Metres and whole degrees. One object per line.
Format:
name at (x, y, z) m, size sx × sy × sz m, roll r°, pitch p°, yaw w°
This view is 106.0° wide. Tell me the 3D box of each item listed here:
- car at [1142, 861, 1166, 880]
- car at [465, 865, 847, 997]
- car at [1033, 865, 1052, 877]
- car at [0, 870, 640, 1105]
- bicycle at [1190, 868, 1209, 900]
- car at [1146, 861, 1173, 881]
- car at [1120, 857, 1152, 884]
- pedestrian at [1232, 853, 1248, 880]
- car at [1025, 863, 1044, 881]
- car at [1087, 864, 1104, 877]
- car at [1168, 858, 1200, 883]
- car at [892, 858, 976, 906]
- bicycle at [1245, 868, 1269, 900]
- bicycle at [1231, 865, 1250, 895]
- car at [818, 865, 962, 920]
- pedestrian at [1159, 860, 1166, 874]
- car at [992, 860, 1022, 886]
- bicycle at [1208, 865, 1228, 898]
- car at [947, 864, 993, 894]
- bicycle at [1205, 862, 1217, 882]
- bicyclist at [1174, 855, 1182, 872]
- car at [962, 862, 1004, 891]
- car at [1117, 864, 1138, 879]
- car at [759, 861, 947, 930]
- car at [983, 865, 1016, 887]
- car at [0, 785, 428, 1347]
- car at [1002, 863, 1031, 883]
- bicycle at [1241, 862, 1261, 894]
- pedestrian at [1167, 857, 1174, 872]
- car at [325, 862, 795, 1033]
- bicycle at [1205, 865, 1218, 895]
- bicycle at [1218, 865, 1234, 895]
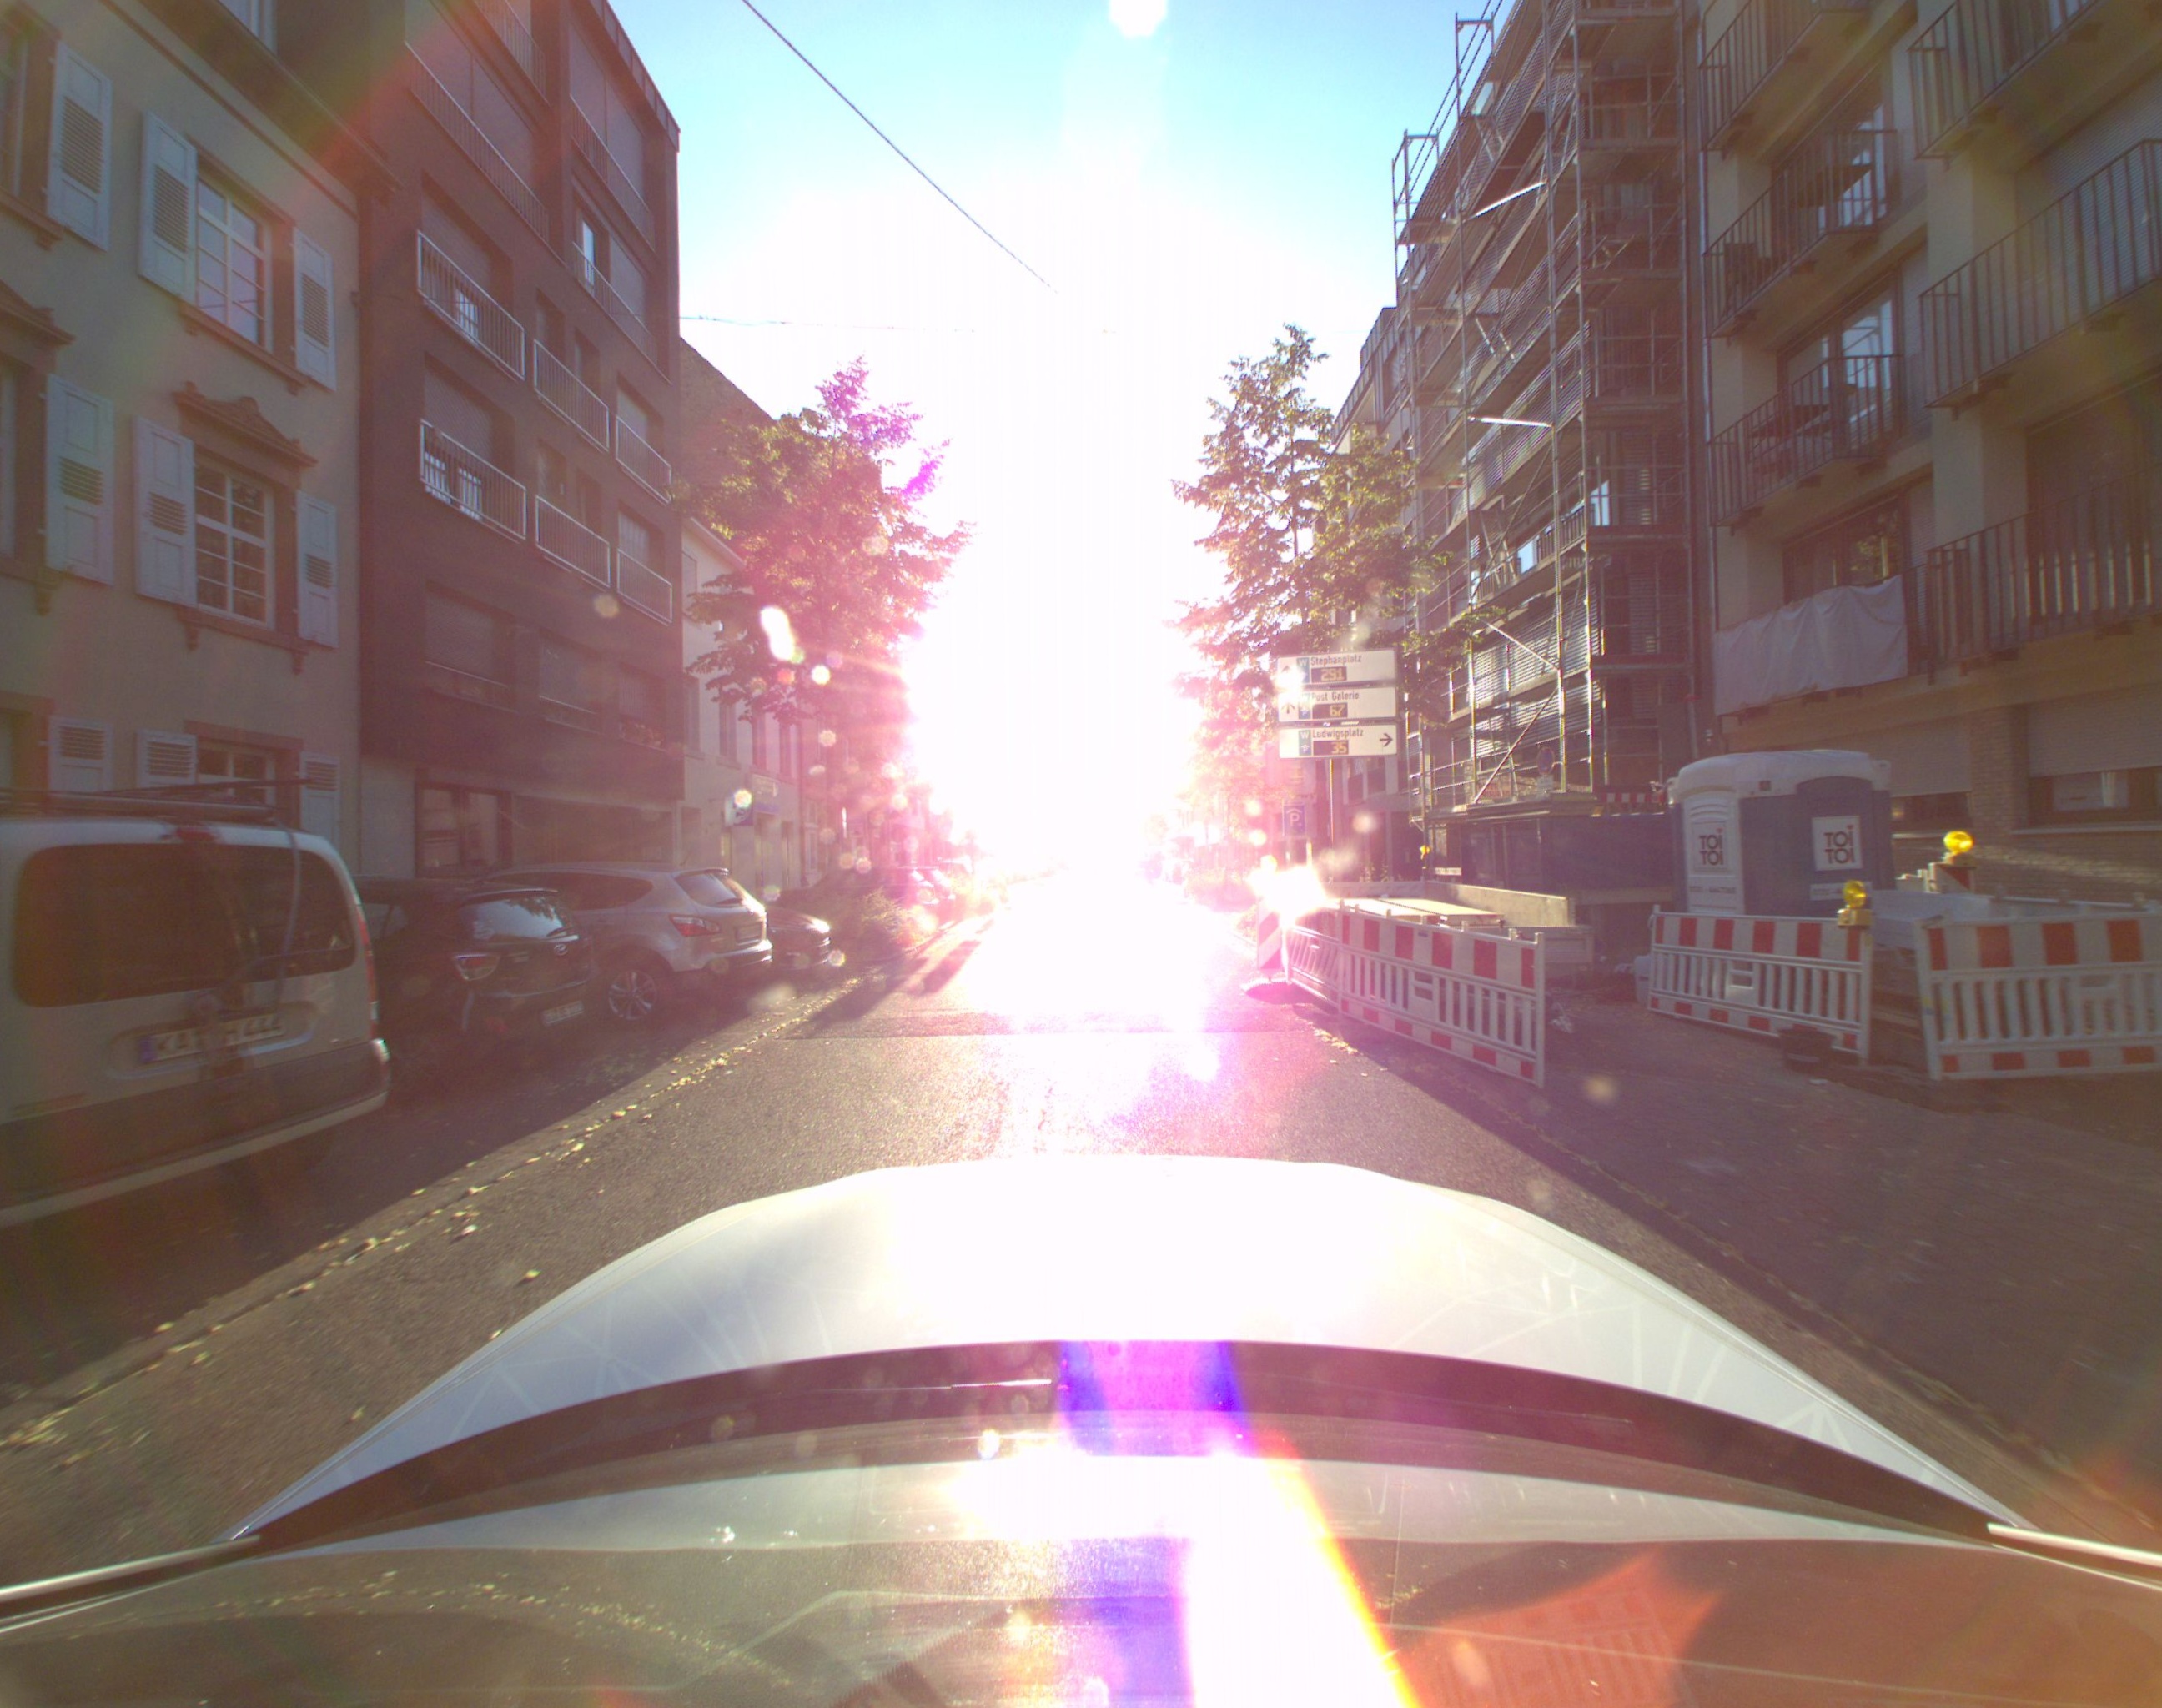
car at (6.030, 1.345, 67.811) m, size 1.697 × 1.436 × 3.933 m, roll -3°, pitch -1°, yaw 2°
car at (-5.534, 0.965, 11.036) m, size 4.197 × 1.516 × 1.760 m, roll -1°, pitch -1°, yaw -3°
car at (-4.335, 1.901, 91.420) m, size 1.827 × 1.328 × 4.123 m, roll -1°, pitch -1°, yaw 0°
car at (-5.696, 0.937, 6.339) m, size 3.631 × 1.515 × 1.652 m, roll -2°, pitch -1°, yaw 6°
bicycle at (4.248, 1.072, 29.155) m, size 0.381 × 1.100 × 1.522 m, roll -2°, pitch -1°, yaw -2°
car at (5.785, 1.257, 60.160) m, size 1.628 × 1.424 × 3.757 m, roll -2°, pitch -1°, yaw 1°
car at (3.623, 1.085, 54.327) m, size 1.988 × 1.655 × 4.675 m, roll 1°, pitch -1°, yaw 1°
pedestrian at (9.809, 0.787, 50.273) m, size 0.807 × 1.647 × 0.606 m, roll -3°, pitch -2°, yaw 1°
car at (-4.862, 1.883, 85.339) m, size 1.828 × 1.854 × 4.120 m, roll -1°, pitch -1°, yaw -2°
car at (1.652, 1.814, 91.480) m, size 1.876 × 1.415 × 4.326 m, roll -1°, pitch -1°, yaw 1°
car at (6.714, 1.077, 53.100) m, size 1.628 × 1.553 × 2.693 m, roll -2°, pitch -1°, yaw -1°
car at (-5.222, 0.982, 29.192) m, size 2.687 × 1.520 × 1.570 m, roll -3°, pitch 0°, yaw -3°
bicycle at (6.427, 1.077, 29.772) m, size 0.381 × 1.100 × 1.520 m, roll -1°, pitch -1°, yaw -6°
bicycle at (6.082, 0.978, 31.067) m, size 0.381 × 1.100 × 1.522 m, roll -1°, pitch -1°, yaw -2°
car at (-5.054, 1.005, 21.832) m, size 3.382 × 1.392 × 1.688 m, roll -1°, pitch -1°, yaw 3°
pedestrian at (9.572, 1.505, 95.314) m, size 0.685 × 1.559 × 0.863 m, roll -1°, pitch -1°, yaw 1°
car at (-5.708, 1.453, 63.479) m, size 1.822 × 1.810 × 5.346 m, roll -3°, pitch -1°, yaw -1°
bicycle at (4.848, 0.959, 28.782) m, size 0.381 × 1.100 × 1.522 m, roll -1°, pitch -1°, yaw -2°
car at (-5.940, 1.324, 43.883) m, size 1.767 × 1.515 × 3.951 m, roll -1°, pitch -1°, yaw 2°
bicycle at (8.305, 1.131, 52.233) m, size 0.396 × 1.234 × 1.824 m, roll -2°, pitch -1°, yaw -1°
bicyclist at (9.803, 0.972, 82.386) m, size 0.648 × 1.702 × 1.095 m, roll -1°, pitch -1°, yaw -1°
car at (-5.764, 1.288, 48.262) m, size 1.767 × 1.633 × 4.239 m, roll -1°, pitch -1°, yaw 2°
car at (4.471, 1.663, 79.047) m, size 1.915 × 1.415 × 4.549 m, roll 1°, pitch -1°, yaw 1°
car at (-5.327, 0.949, 19.388) m, size 3.878 × 1.517 × 1.857 m, roll -1°, pitch -1°, yaw 1°
car at (-5.676, 1.518, 57.285) m, size 1.707 × 1.440 × 4.310 m, roll -3°, pitch -1°, yaw 1°
car at (-5.403, 0.758, 3.561) m, size 3.793 × 1.849 × 1.702 m, roll -2°, pitch -1°, yaw 4°
car at (-5.467, 1.586, 69.765) m, size 1.820 × 1.556 × 5.138 m, roll -3°, pitch -1°, yaw 2°
bicycle at (6.494, 0.927, 31.116) m, size 0.381 × 1.189 × 1.521 m, roll 0°, pitch -1°, yaw -2°
pedestrian at (10.467, 1.204, 95.325) m, size 0.684 × 1.722 × 0.718 m, roll -2°, pitch -1°, yaw 7°
car at (-5.242, 0.899, 8.542) m, size 3.808 × 1.585 × 1.743 m, roll 0°, pitch -1°, yaw 3°
bicycle at (5.024, 0.989, 31.367) m, size 0.368 × 1.108 × 1.528 m, roll -2°, pitch -1°, yaw 13°
bicycle at (5.554, 0.973, 31.183) m, size 0.380 × 1.100 × 1.566 m, roll -2°, pitch -1°, yaw 2°
